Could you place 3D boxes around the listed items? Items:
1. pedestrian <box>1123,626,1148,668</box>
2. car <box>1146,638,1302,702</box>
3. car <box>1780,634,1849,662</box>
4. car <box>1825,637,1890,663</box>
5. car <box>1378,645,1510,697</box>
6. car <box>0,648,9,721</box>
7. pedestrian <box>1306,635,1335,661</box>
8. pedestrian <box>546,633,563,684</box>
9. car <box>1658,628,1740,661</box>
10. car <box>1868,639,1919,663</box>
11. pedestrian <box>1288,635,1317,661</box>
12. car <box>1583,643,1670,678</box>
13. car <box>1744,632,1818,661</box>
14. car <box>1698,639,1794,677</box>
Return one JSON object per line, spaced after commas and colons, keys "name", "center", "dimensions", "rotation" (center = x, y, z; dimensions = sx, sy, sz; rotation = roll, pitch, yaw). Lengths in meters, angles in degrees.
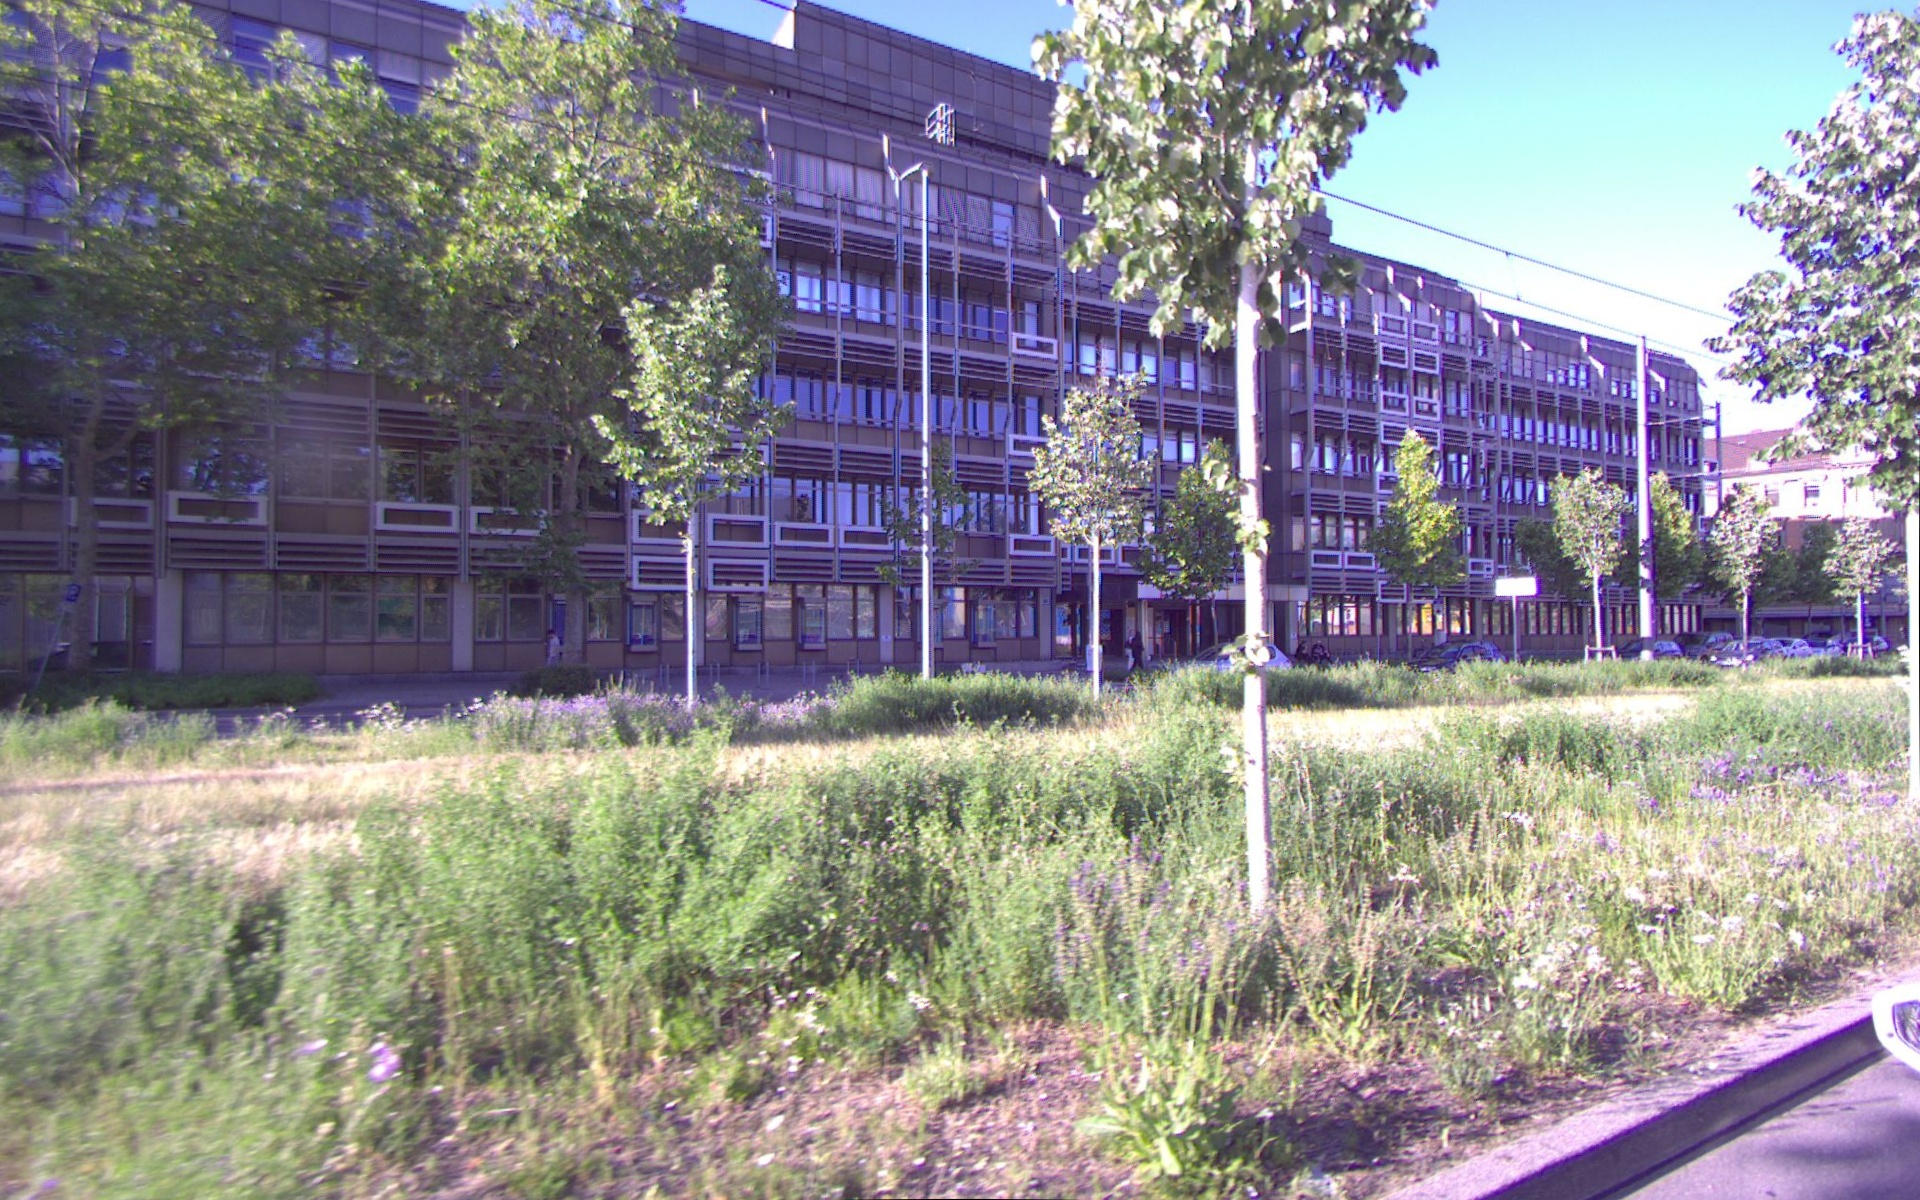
{"name": "pedestrian", "center": [6.606, 1.779, 37.818], "dimensions": [0.642, 1.552, 0.660], "rotation": [1, -2, -31]}
{"name": "car", "center": [7.208, 1.855, 27.352], "dimensions": [3.954, 1.596, 1.895], "rotation": [1, -3, -31]}
{"name": "car", "center": [51.308, 2.853, 60.302], "dimensions": [4.251, 1.596, 1.895], "rotation": [1, -3, -31]}
{"name": "car", "center": [57.587, 3.162, 64.440], "dimensions": [4.251, 1.596, 1.895], "rotation": [1, -3, -31]}
{"name": "car", "center": [16.190, 2.334, 33.546], "dimensions": [4.359, 1.596, 1.895], "rotation": [1, -3, -31]}
{"name": "car", "center": [-22.670, 1.791, 20.570], "dimensions": [4.224, 1.617, 1.854], "rotation": [1, -3, -28]}
{"name": "pedestrian", "center": [16.879, 2.256, 47.054], "dimensions": [0.888, 1.184, 0.896], "rotation": [1, -2, -29]}
{"name": "pedestrian", "center": [-12.638, 1.813, 31.299], "dimensions": [0.441, 1.582, 0.407], "rotation": [1, -2, -28]}
{"name": "car", "center": [37.921, 2.265, 51.529], "dimensions": [4.251, 1.596, 1.895], "rotation": [1, -3, -31]}
{"name": "car", "center": [64.336, 3.488, 68.897], "dimensions": [4.251, 1.596, 1.895], "rotation": [1, -3, -31]}
{"name": "pedestrian", "center": [15.854, 2.235, 46.479], "dimensions": [0.855, 1.184, 0.896], "rotation": [1, -2, -30]}
{"name": "car", "center": [32.489, 2.920, 48.956], "dimensions": [4.251, 1.596, 1.895], "rotation": [1, -3, -31]}
{"name": "car", "center": [46.586, 2.606, 56.979], "dimensions": [4.251, 1.596, 1.895], "rotation": [1, -3, -31]}
{"name": "car", "center": [34.559, 2.518, 44.134], "dimensions": [4.251, 1.596, 1.895], "rotation": [1, -3, -31]}
